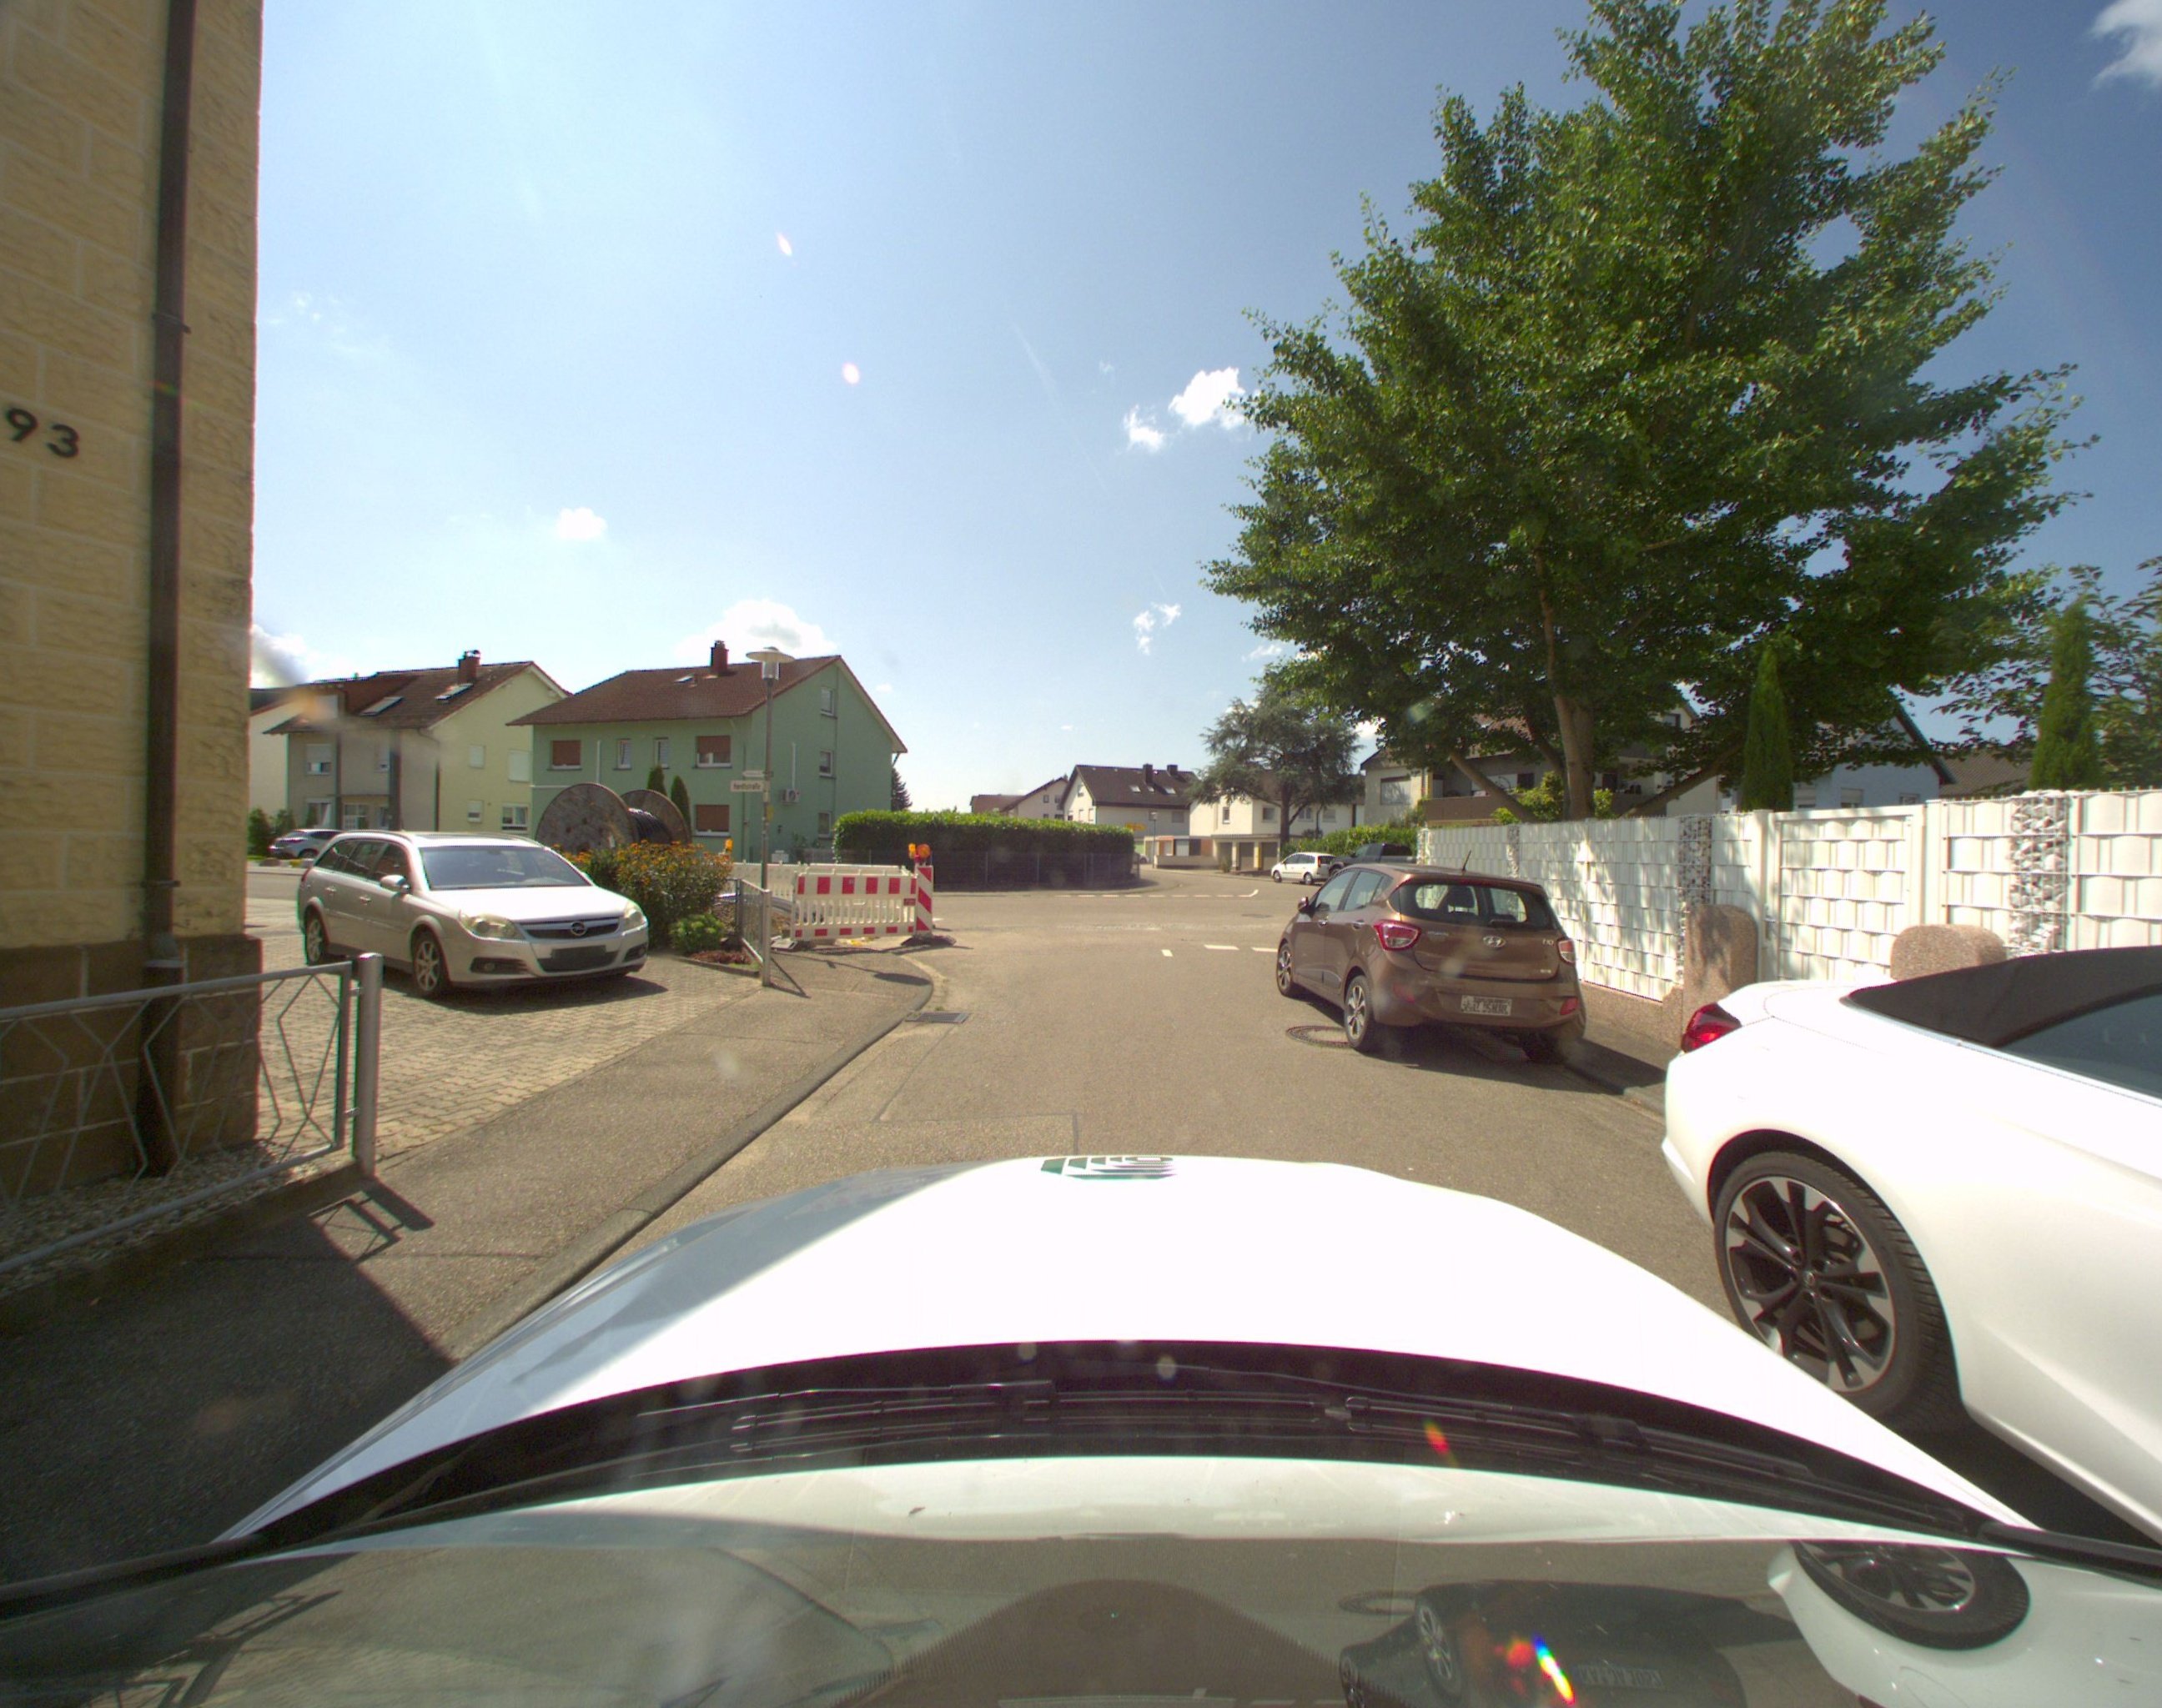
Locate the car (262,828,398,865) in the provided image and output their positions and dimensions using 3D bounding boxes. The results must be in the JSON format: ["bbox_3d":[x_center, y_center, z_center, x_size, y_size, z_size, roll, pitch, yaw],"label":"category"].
[{"bbox_3d":[-32.489,-0.358,35.364,1.753,1.509,3.946,1,1,20],"label":"car"}]

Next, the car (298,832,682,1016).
[{"bbox_3d":[-6.340,0.538,8.583,4.415,1.485,1.803,1,0,33],"label":"car"}]

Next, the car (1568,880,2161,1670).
[{"bbox_3d":[3.003,0.855,1.082,1.889,1.428,4.737,1,0,0],"label":"car"}]

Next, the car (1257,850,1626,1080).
[{"bbox_3d":[3.044,0.796,7.897,1.707,1.532,4.035,4,0,0],"label":"car"}]

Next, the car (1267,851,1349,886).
[{"bbox_3d":[11.293,0.703,40.808,1.805,1.563,4.113,1,1,-22],"label":"car"}]

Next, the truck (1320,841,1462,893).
[{"bbox_3d":[13.068,0.478,34.810,2.374,2.013,5.669,1,0,-23],"label":"truck"}]

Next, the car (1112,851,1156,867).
[{"bbox_3d":[4.786,0.438,73.949,3.611,1.408,1.772,1,0,-21],"label":"car"}]
